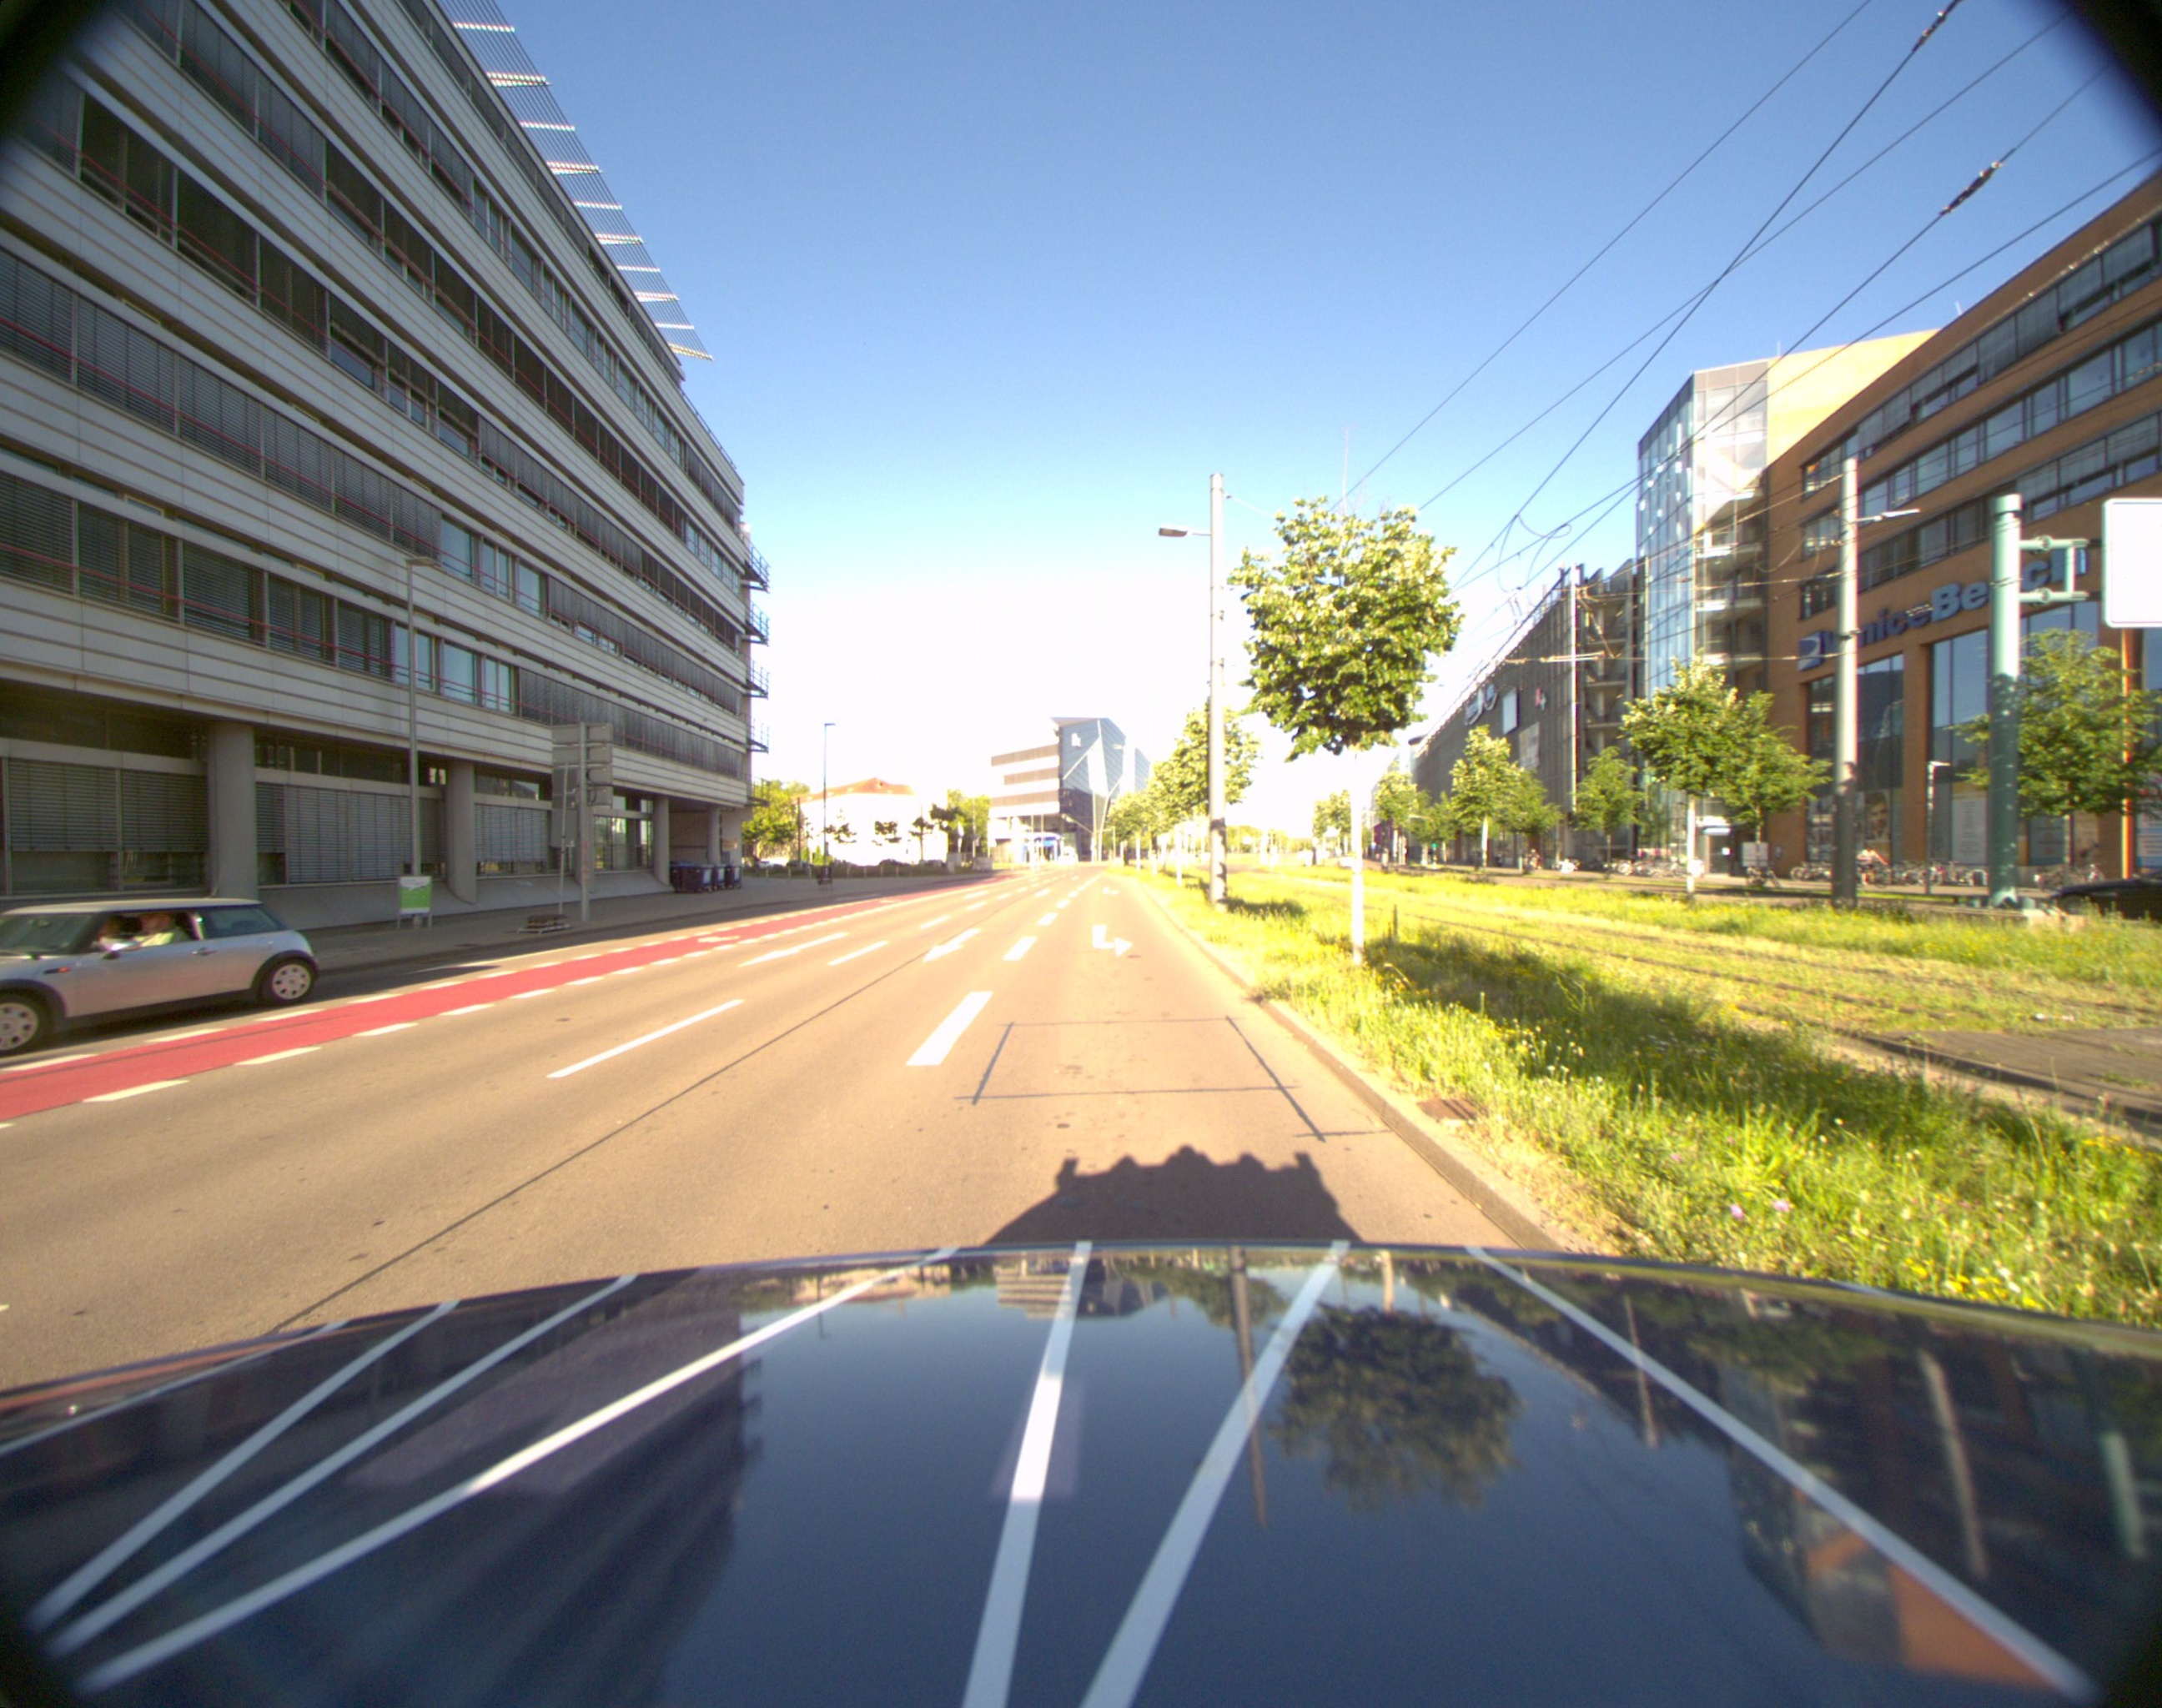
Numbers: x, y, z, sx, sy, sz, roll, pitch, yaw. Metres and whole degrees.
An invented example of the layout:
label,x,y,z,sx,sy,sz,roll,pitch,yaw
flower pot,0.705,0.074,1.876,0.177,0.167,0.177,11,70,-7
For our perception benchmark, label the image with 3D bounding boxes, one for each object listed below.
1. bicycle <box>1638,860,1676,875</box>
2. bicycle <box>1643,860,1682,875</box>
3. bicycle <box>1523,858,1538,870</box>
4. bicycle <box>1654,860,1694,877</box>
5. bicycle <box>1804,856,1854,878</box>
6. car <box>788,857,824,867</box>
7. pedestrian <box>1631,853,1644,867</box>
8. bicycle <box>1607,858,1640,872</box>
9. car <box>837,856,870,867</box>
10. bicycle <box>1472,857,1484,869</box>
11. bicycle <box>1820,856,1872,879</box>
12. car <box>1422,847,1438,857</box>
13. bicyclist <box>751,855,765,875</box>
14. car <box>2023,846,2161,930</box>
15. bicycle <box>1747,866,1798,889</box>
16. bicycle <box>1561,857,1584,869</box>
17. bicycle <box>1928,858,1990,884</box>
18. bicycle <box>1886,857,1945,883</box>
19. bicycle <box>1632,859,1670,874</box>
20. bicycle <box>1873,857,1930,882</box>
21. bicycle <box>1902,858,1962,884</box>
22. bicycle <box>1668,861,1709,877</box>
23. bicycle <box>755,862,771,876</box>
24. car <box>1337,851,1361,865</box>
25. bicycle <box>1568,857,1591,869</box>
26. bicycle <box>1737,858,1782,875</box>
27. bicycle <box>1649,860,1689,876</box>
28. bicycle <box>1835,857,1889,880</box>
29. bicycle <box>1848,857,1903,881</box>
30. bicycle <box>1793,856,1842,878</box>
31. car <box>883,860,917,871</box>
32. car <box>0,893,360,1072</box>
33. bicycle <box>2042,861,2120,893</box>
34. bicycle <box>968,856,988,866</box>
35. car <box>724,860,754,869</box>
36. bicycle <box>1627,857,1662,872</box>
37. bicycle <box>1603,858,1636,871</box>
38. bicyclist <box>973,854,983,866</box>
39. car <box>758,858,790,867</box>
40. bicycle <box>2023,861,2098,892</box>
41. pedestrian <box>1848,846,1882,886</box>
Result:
label,x,y,z,sx,sy,sz,roll,pitch,yaw
bicycle,35.314,0.811,46.595,1.768,0.921,0.565,-1,1,17
bicycle,35.148,0.822,45.945,1.768,0.921,0.565,-1,1,17
bicycle,32.658,0.727,55.209,0.386,0.863,1.773,0,1,13
bicycle,34.680,0.852,44.423,1.768,0.921,0.565,-1,1,17
bicycle,35.805,0.630,36.396,1.769,1.043,0.491,-1,1,8
car,-39.813,1.151,110.049,4.516,1.414,2.003,-1,1,19
pedestrian,40.735,0.430,55.633,0.629,1.048,0.450,-1,1,13
bicycle,36.534,0.729,51.192,1.768,0.921,0.565,-1,1,17
car,-31.988,1.021,106.741,3.991,1.414,2.003,-1,1,20
bicycle,31.581,0.672,60.489,0.386,0.918,1.773,0,1,13
bicycle,35.678,0.643,35.435,1.769,1.043,0.491,-1,1,8
car,54.252,-0.361,118.126,1.582,1.521,3.754,-2,1,13
bicyclist,-26.219,0.913,61.703,0.685,1.609,0.991,-1,1,2
car,21.495,0.683,14.150,1.998,1.587,4.738,2,0,1
bicycle,27.983,0.921,30.786,0.464,0.863,1.771,-1,1,1
bicycle,37.969,0.668,58.712,1.398,0.921,0.462,-1,1,17
bicycle,35.659,0.683,30.873,1.769,1.043,0.491,-1,1,8
bicycle,35.365,0.682,32.204,1.769,1.043,0.491,-1,1,8
bicycle,35.451,0.800,47.274,1.768,0.921,0.565,-1,1,17
bicycle,35.473,0.672,32.864,1.769,1.043,0.491,-1,1,8
bicycle,35.315,0.689,31.538,1.769,1.043,0.491,-1,1,8
bicycle,34.636,0.863,43.351,1.768,0.921,0.565,-1,1,17
bicycle,-25.865,1.195,61.783,0.505,1.052,1.702,2,1,2
car,26.682,0.379,75.808,1.808,1.320,4.409,0,1,13
bicycle,37.527,0.697,57.211,1.398,0.921,0.462,-1,1,17
bicycle,37.359,0.682,41.854,1.768,0.921,0.565,-1,1,17
bicycle,34.934,0.837,45.170,1.768,0.921,0.565,-1,1,17
bicycle,35.662,0.650,34.700,1.769,1.043,0.491,-1,1,8
bicycle,35.567,0.659,34.026,1.769,1.043,0.491,-1,1,8
bicycle,35.864,0.623,36.992,1.769,1.043,0.491,-1,1,8
car,-24.836,1.541,104.295,3.991,1.414,2.003,-1,1,20
car,-10.575,1.282,8.320,1.439,1.437,4.000,-2,0,1
bicycle,34.020,0.772,25.869,1.769,1.043,0.491,-1,1,8
bicycle,-13.295,0.908,98.104,2.368,1.304,0.952,-1,1,13
car,-51.660,1.576,114.904,3.990,1.368,1.938,-1,1,24
bicycle,36.003,0.682,48.568,1.768,0.921,0.491,-1,1,17
bicycle,36.745,0.716,51.852,1.768,0.921,0.491,-1,1,17
bicyclist,-13.309,0.750,98.120,1.006,1.598,0.880,-1,1,14
car,-45.301,1.275,112.104,3.990,1.237,2.003,-1,1,22
bicycle,34.082,0.776,26.455,1.769,1.043,0.491,-1,1,8
pedestrian,32.726,0.508,31.720,0.746,1.659,0.676,-1,1,7
